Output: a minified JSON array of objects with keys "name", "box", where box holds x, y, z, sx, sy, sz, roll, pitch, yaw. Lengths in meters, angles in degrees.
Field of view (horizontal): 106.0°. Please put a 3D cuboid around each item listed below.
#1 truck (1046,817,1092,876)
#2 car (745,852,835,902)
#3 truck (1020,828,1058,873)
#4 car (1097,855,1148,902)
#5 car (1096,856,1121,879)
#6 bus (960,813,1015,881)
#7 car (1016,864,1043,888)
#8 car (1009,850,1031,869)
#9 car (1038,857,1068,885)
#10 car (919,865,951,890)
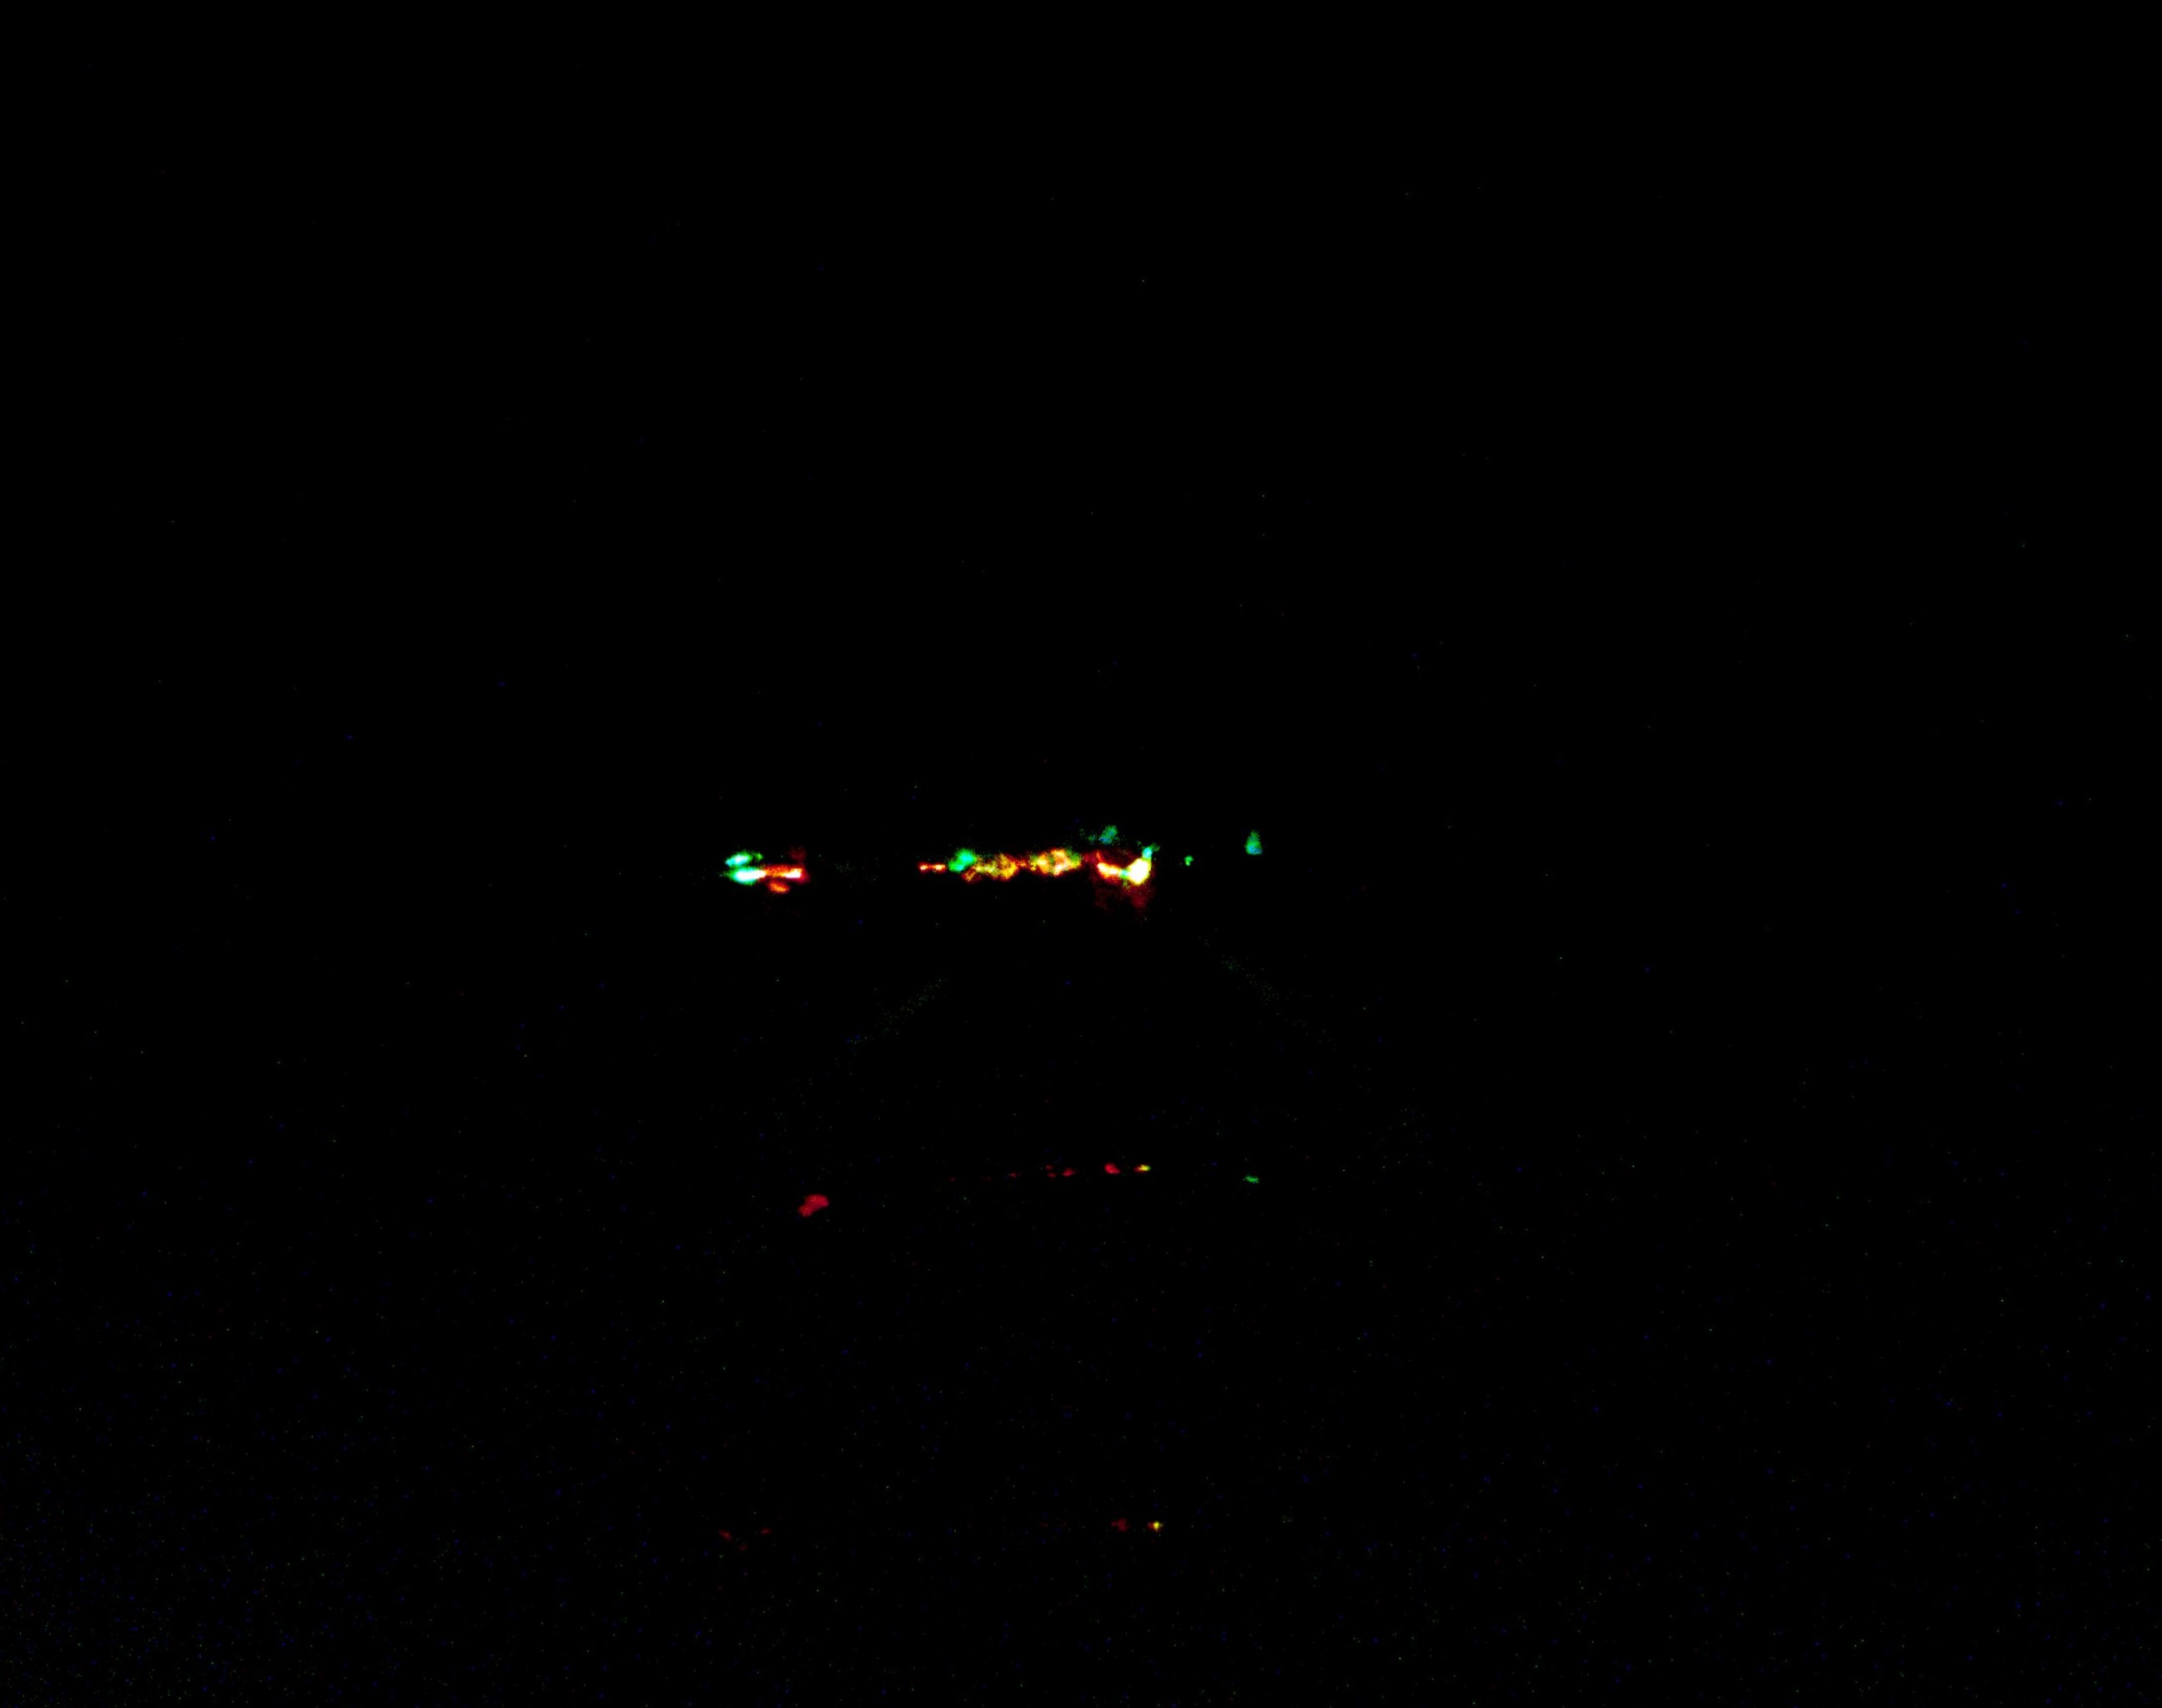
[{"name":"truck","box":[-1.069,-0.644,83.303,4.195,5.648,11.469,0,-1,1]},{"name":"car","box":[-10.075,0.760,28.485,1.990,1.596,3.993,0,-1,-5]},{"name":"truck","box":[-5.489,-0.357,108.860,4.195,5.648,11.469,0,-1,1]},{"name":"car","box":[1.669,0.967,33.548,1.986,1.807,4.001,0,-1,2]},{"name":"car","box":[2.487,1.219,74.519,2.119,2.014,4.644,0,-1,-1]},{"name":"bus","box":[-6.641,-0.446,59.592,3.088,4.508,10.905,0,-1,-2]},{"name":"car","box":[-4.093,1.724,65.077,1.988,1.807,3.997,0,-1,-1]},{"name":"car","box":[-5.958,0.569,79.792,1.988,1.807,3.997,0,-1,-1]},{"name":"car","box":[-1.997,1.217,59.566,2.119,2.014,4.644,0,-1,-1]},{"name":"car","box":[-10.164,1.607,56.842,1.690,1.650,3.837,0,-1,-2]}]
